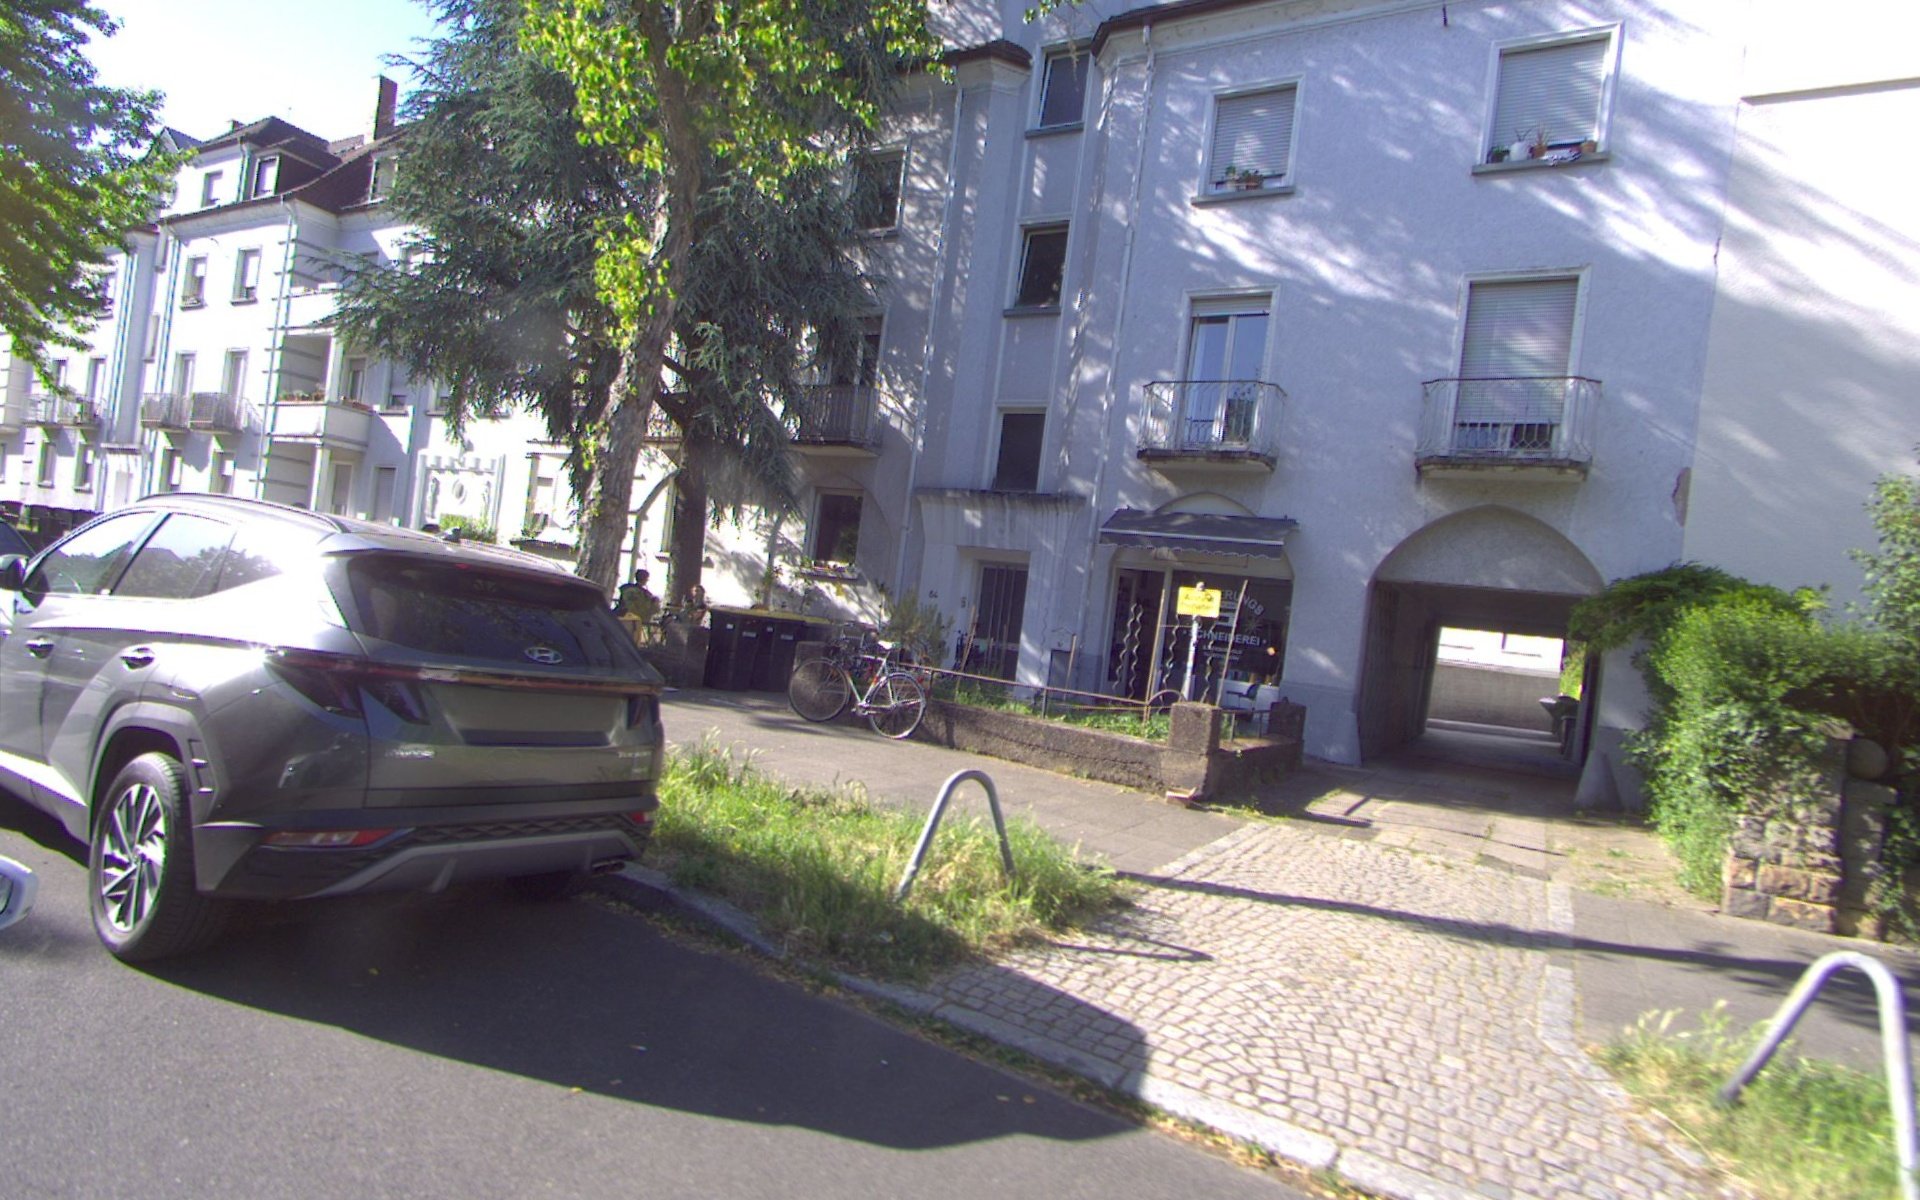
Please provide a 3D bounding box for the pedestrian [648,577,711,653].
[{"bbox_3d":[-4.647,0.253,16.683,0.743,1.156,0.510,7,-1,29],"label":"pedestrian"}]

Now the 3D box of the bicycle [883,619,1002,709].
[{"bbox_3d":[-0.210,0.912,14.096,0.573,1.114,1.898,7,0,33],"label":"bicycle"}]

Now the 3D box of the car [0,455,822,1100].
[{"bbox_3d":[-3.311,0.369,4.877,5.011,1.670,1.930,7,-2,32],"label":"car"}]

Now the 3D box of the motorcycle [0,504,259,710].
[{"bbox_3d":[-6.822,0.057,7.574,0.676,1.440,2.356,7,-1,30],"label":"motorcycle"}]

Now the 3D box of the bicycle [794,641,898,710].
[{"bbox_3d":[-1.403,0.945,12.585,0.464,0.766,1.363,7,0,34],"label":"bicycle"}]

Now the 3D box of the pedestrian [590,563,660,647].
[{"bbox_3d":[-5.047,0.079,15.152,0.743,1.156,0.510,7,-1,32],"label":"pedestrian"}]

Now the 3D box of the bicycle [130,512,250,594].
[{"bbox_3d":[-14.559,-0.887,19.013,2.192,1.272,0.841,7,-1,27],"label":"bicycle"}]

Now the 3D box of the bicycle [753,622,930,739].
[{"bbox_3d":[-1.312,0.848,10.941,1.872,0.987,0.581,7,1,32],"label":"bicycle"}]

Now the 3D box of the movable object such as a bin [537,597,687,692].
[{"bbox_3d":[-4.356,0.541,12.542,1.216,0.916,1.646,8,-1,-39],"label":"movable object such as a bin"}]

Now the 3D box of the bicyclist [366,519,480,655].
[{"bbox_3d":[-6.748,-0.155,12.651,1.004,1.572,0.677,7,0,27],"label":"bicyclist"}]

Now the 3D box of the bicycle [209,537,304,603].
[{"bbox_3d":[-12.515,-0.542,17.879,1.871,0.969,0.596,7,1,31],"label":"bicycle"}]

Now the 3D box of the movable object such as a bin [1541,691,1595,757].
[{"bbox_3d":[15.921,3.231,26.367,1.045,1.548,0.940,7,0,32],"label":"movable object such as a bin"}]

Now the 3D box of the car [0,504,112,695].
[{"bbox_3d":[-9.539,-0.274,8.813,4.387,1.470,1.756,7,-3,31],"label":"car"}]

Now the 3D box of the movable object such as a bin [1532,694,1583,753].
[{"bbox_3d":[16.628,3.422,28.013,1.061,1.466,0.815,7,0,32],"label":"movable object such as a bin"}]

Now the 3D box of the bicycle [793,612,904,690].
[{"bbox_3d":[-1.741,0.831,16.017,0.573,1.114,1.898,7,0,33],"label":"bicycle"}]

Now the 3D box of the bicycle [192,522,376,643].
[{"bbox_3d":[-8.052,-0.221,11.946,2.361,1.167,0.685,7,0,28],"label":"bicycle"}]

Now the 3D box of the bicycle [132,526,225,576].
[{"bbox_3d":[-17.768,-1.092,22.902,0.493,0.984,1.580,7,2,31],"label":"bicycle"}]

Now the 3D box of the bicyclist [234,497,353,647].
[{"bbox_3d":[-7.839,-0.322,11.847,0.905,1.629,0.678,7,0,27],"label":"bicyclist"}]
